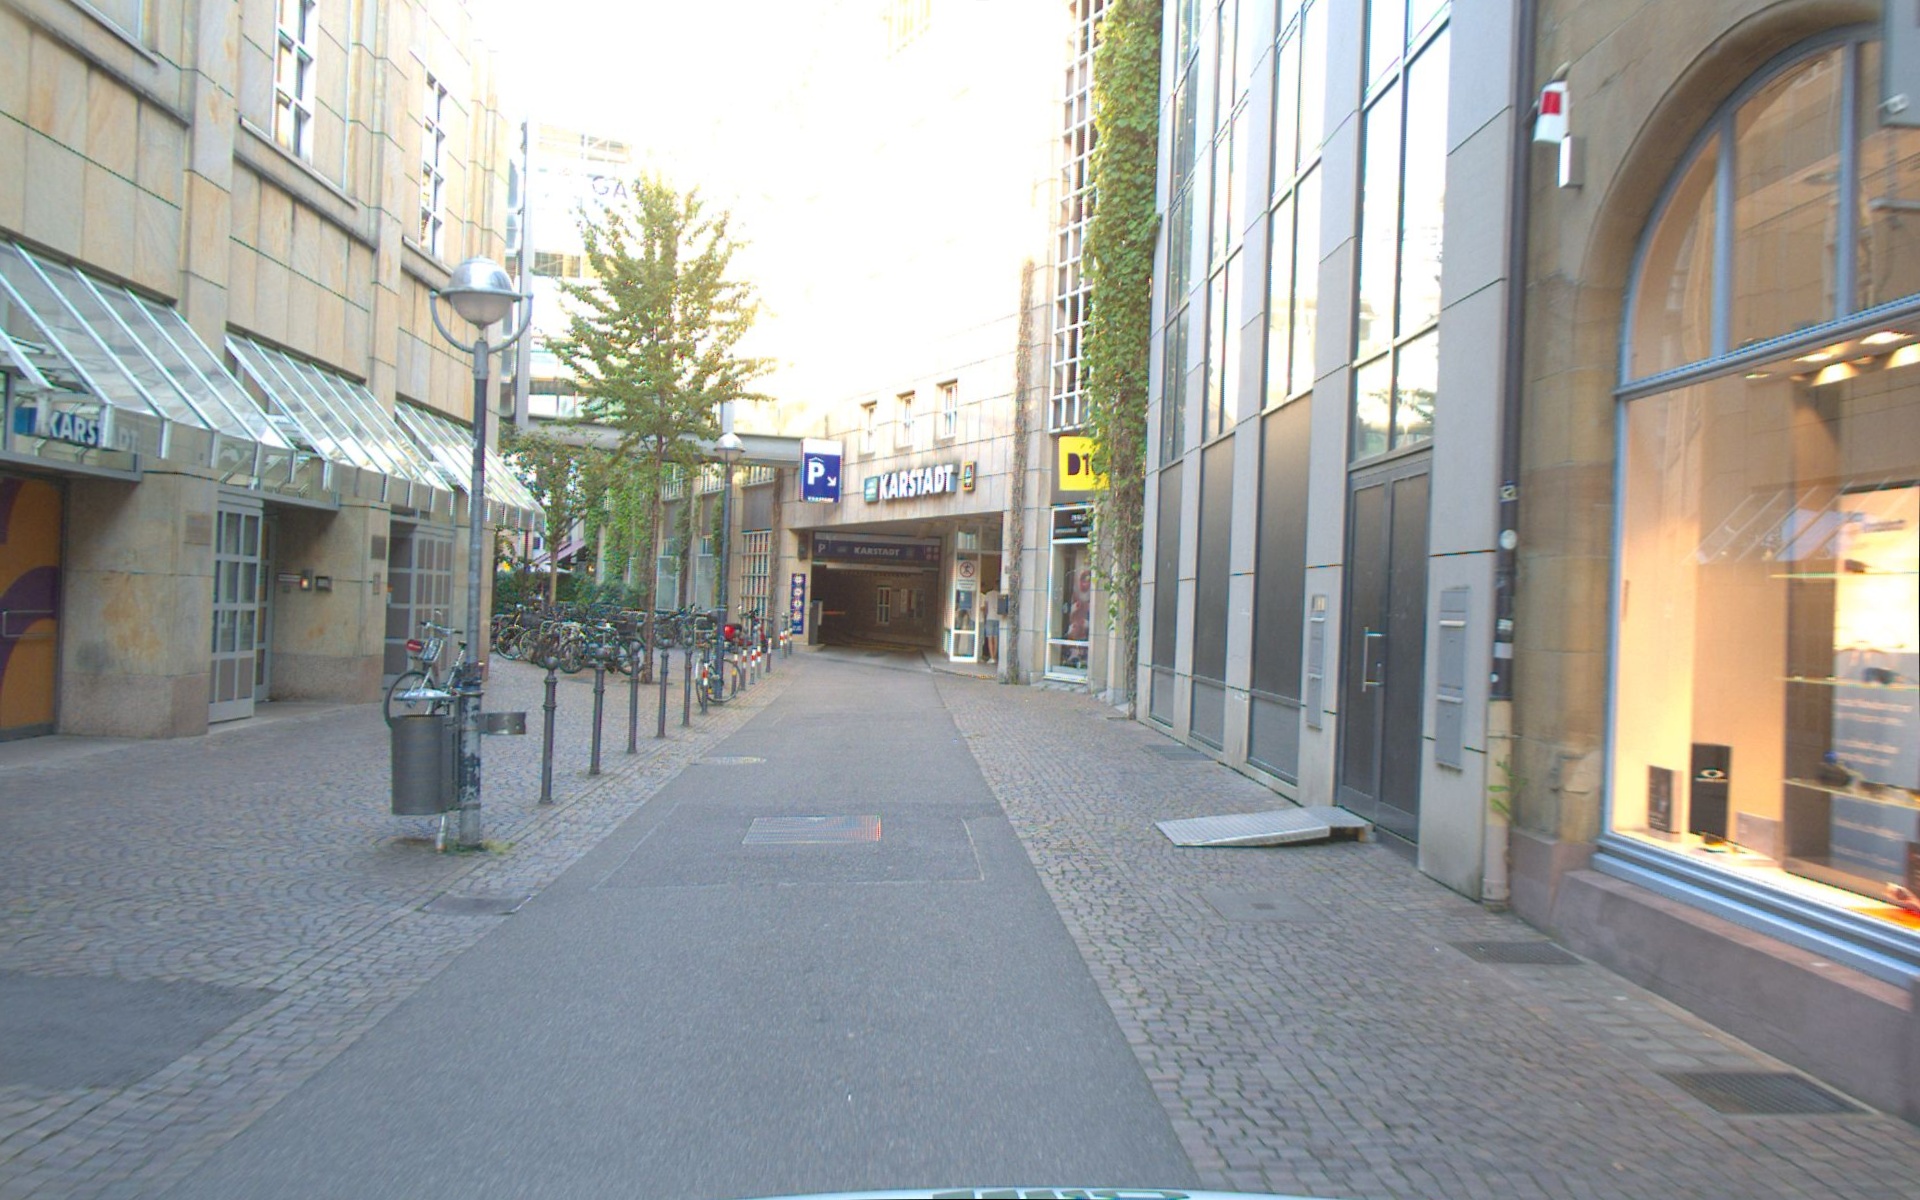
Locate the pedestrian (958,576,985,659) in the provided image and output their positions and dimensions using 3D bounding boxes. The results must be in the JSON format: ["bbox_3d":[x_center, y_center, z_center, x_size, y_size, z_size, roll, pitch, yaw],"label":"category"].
[{"bbox_3d":[0.270,0.392,38.044,0.531,1.879,0.408,2,1,3],"label":"pedestrian"}]

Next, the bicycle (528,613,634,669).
[{"bbox_3d":[-7.364,0.796,32.146,1.887,1.011,0.691,2,0,-23],"label":"bicycle"}]

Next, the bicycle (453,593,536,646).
[{"bbox_3d":[-11.384,0.477,40.419,1.884,1.203,0.692,2,0,-20],"label":"bicycle"}]

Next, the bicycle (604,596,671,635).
[{"bbox_3d":[-10.122,0.474,51.910,1.966,1.203,0.689,0,0,-23],"label":"bicycle"}]

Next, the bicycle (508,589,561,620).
[{"bbox_3d":[-16.965,0.188,65.953,1.966,1.203,0.689,0,0,-23],"label":"bicycle"}]

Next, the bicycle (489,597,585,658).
[{"bbox_3d":[-8.966,0.584,35.070,1.884,1.203,0.692,2,0,-20],"label":"bicycle"}]

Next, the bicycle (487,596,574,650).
[{"bbox_3d":[-10.049,0.533,38.709,1.884,1.203,0.692,2,0,-20],"label":"bicycle"}]

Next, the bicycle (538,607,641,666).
[{"bbox_3d":[-7.402,0.730,33.064,1.887,1.121,0.691,2,0,-23],"label":"bicycle"}]

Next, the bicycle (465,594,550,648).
[{"bbox_3d":[-10.781,0.504,39.409,1.884,1.203,0.692,2,0,-20],"label":"bicycle"}]

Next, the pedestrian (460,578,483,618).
[{"bbox_3d":[-18.927,-0.070,64.062,0.738,1.536,0.633,2,0,-25],"label":"pedestrian"}]

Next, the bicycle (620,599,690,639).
[{"bbox_3d":[-9.194,0.569,49.839,1.966,1.203,0.689,0,0,-23],"label":"bicycle"}]

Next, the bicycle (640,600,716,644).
[{"bbox_3d":[-7.903,0.615,46.330,1.966,1.203,0.797,0,0,-22],"label":"bicycle"}]

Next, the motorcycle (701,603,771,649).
[{"bbox_3d":[-5.838,0.677,43.022,1.720,1.175,0.591,0,0,-20],"label":"motorcycle"}]

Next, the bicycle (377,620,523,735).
[{"bbox_3d":[-5.403,0.798,17.649,0.679,1.131,1.778,2,0,12],"label":"bicycle"}]

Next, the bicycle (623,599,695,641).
[{"bbox_3d":[-8.895,0.581,48.867,1.966,1.203,0.797,0,0,-22],"label":"bicycle"}]

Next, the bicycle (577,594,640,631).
[{"bbox_3d":[-11.749,0.411,55.260,1.966,1.203,0.689,0,0,-23],"label":"bicycle"}]

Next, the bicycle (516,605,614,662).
[{"bbox_3d":[-8.175,0.689,34.211,1.884,1.121,0.692,2,0,-20],"label":"bicycle"}]

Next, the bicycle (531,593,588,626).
[{"bbox_3d":[-14.911,0.338,61.570,1.966,1.203,0.689,0,0,-23],"label":"bicycle"}]

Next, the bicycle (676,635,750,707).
[{"bbox_3d":[-3.656,1.033,24.570,0.494,0.983,1.696,2,0,12],"label":"bicycle"}]

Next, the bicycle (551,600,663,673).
[{"bbox_3d":[-6.570,0.680,30.775,1.887,1.283,0.803,2,0,-23],"label":"bicycle"}]

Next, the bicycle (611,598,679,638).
[{"bbox_3d":[-9.652,0.555,50.698,1.966,1.203,0.689,0,0,-23],"label":"bicycle"}]

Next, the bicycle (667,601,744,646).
[{"bbox_3d":[-6.861,0.622,44.644,1.966,1.203,0.691,0,0,-23],"label":"bicycle"}]

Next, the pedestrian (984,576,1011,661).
[{"bbox_3d":[0.856,0.418,37.838,0.531,1.894,0.408,2,1,3],"label":"pedestrian"}]

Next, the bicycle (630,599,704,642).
[{"bbox_3d":[-8.398,0.581,47.438,1.966,1.203,0.797,0,0,-22],"label":"bicycle"}]

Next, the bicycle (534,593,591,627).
[{"bbox_3d":[-14.604,0.362,60.776,1.966,1.203,0.689,0,0,-23],"label":"bicycle"}]

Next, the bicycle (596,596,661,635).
[{"bbox_3d":[-10.608,0.492,52.959,1.966,1.203,0.689,0,0,-23],"label":"bicycle"}]

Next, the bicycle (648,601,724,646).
[{"bbox_3d":[-7.531,0.645,45.468,1.966,1.203,0.691,0,0,-23],"label":"bicycle"}]
